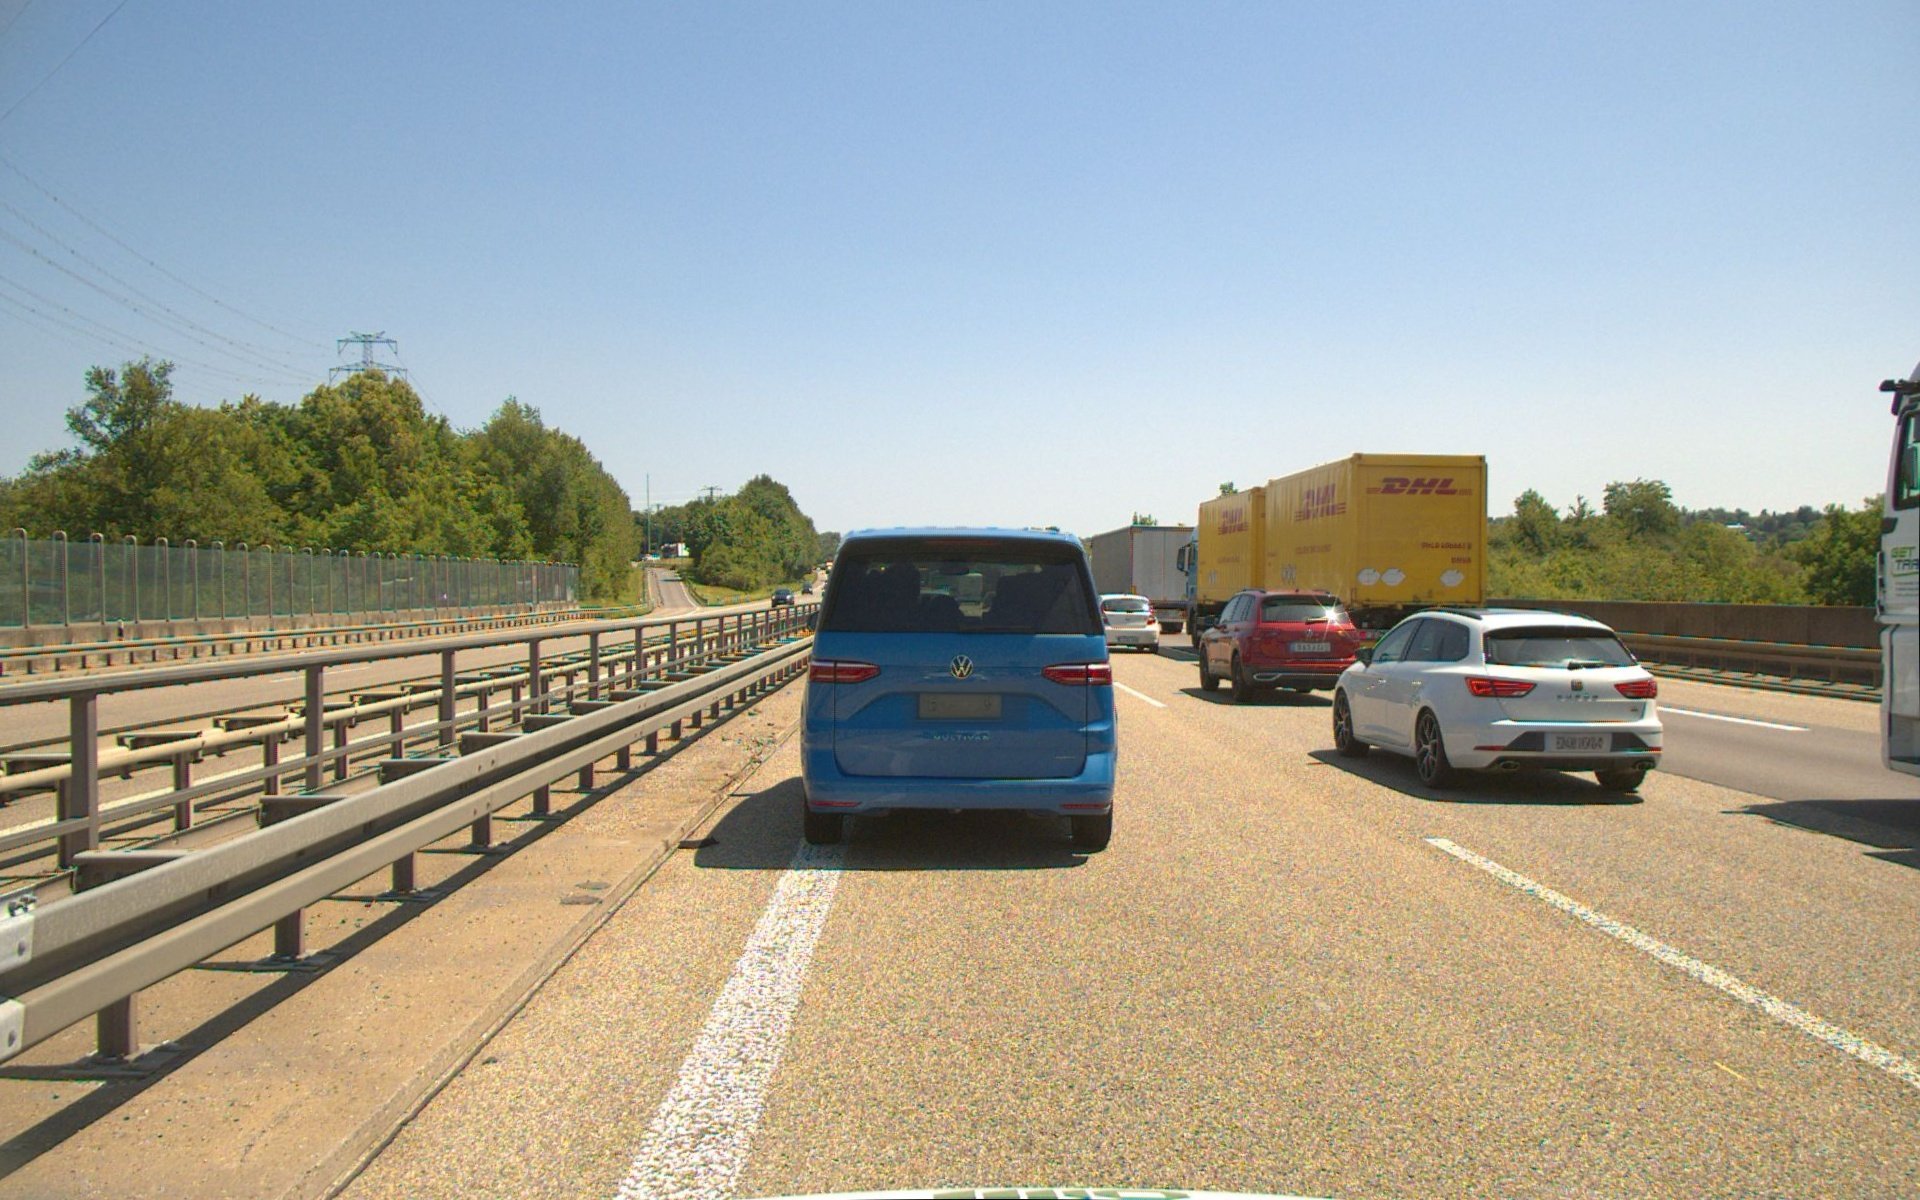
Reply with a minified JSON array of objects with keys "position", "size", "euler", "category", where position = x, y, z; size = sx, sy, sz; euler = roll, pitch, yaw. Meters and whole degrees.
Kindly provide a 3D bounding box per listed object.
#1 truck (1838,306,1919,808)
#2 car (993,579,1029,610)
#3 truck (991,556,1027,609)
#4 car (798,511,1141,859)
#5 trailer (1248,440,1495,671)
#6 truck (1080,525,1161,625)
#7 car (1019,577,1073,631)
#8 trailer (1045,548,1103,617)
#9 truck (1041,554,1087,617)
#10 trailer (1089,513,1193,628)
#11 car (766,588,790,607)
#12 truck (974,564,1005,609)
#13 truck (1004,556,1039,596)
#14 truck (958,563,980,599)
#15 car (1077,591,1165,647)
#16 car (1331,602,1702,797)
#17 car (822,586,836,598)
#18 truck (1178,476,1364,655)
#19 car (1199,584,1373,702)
[{"position":[8.475,-0.306,7.776],"size":[2.793,3.666,10.766],"euler":[1,0,-1],"category":"truck"},{"position":[2.665,-0.317,87.504],"size":[1.680,1.567,3.820],"euler":[-1,0,-1],"category":"car"},{"position":[4.819,-1.654,165.132],"size":[2.777,5.128,11.140],"euler":[1,0,-2],"category":"truck"},{"position":[0.021,0.456,10.968],"size":[1.844,1.869,3.999],"euler":[1,0,-1],"category":"car"},{"position":[8.180,-0.772,34.207],"size":[2.647,4.094,8.927],"euler":[1,0,-1],"category":"trailer"},{"position":[7.063,-1.041,73.625],"size":[2.712,4.167,6.982],"euler":[1,0,-1],"category":"truck"},{"position":[3.245,0.126,62.859],"size":[1.681,1.613,3.822],"euler":[-4,4,-1],"category":"car"},{"position":[6.666,-0.924,98.166],"size":[2.331,3.809,11.184],"euler":[1,0,-1],"category":"trailer"},{"position":[6.482,-0.873,103.981],"size":[2.320,3.787,6.031],"euler":[1,0,-2],"category":"truck"},{"position":[7.164,-1.048,67.203],"size":[2.699,4.219,11.309],"euler":[1,0,-1],"category":"trailer"},{"position":[-16.843,-0.231,153.389],"size":[1.744,1.596,4.385],"euler":[-2,0,-1],"category":"car"},{"position":[3.433,-1.497,193.853],"size":[2.777,5.128,11.810],"euler":[1,0,-2],"category":"truck"},{"position":[5.348,-2.007,145.397],"size":[2.308,3.275,9.736],"euler":[1,0,-2],"category":"truck"},{"position":[1.369,-2.953,260.170],"size":[2.777,5.467,12.548],"euler":[1,0,-2],"category":"truck"},{"position":[4.258,0.482,44.172],"size":[1.801,1.438,3.998],"euler":[0,0,-3],"category":"car"},{"position":[4.598,0.738,14.347],"size":[1.745,1.411,4.187],"euler":[1,0,-1],"category":"car"},{"position":[-18.646,-1.150,236.125],"size":[1.719,1.574,3.999],"euler":[-2,0,-1],"category":"car"},{"position":[7.956,-0.766,43.853],"size":[2.667,4.125,10.332],"euler":[1,0,-1],"category":"truck"},{"position":[4.895,0.594,25.363],"size":[1.813,1.636,3.999],"euler":[1,0,-1],"category":"car"}]
